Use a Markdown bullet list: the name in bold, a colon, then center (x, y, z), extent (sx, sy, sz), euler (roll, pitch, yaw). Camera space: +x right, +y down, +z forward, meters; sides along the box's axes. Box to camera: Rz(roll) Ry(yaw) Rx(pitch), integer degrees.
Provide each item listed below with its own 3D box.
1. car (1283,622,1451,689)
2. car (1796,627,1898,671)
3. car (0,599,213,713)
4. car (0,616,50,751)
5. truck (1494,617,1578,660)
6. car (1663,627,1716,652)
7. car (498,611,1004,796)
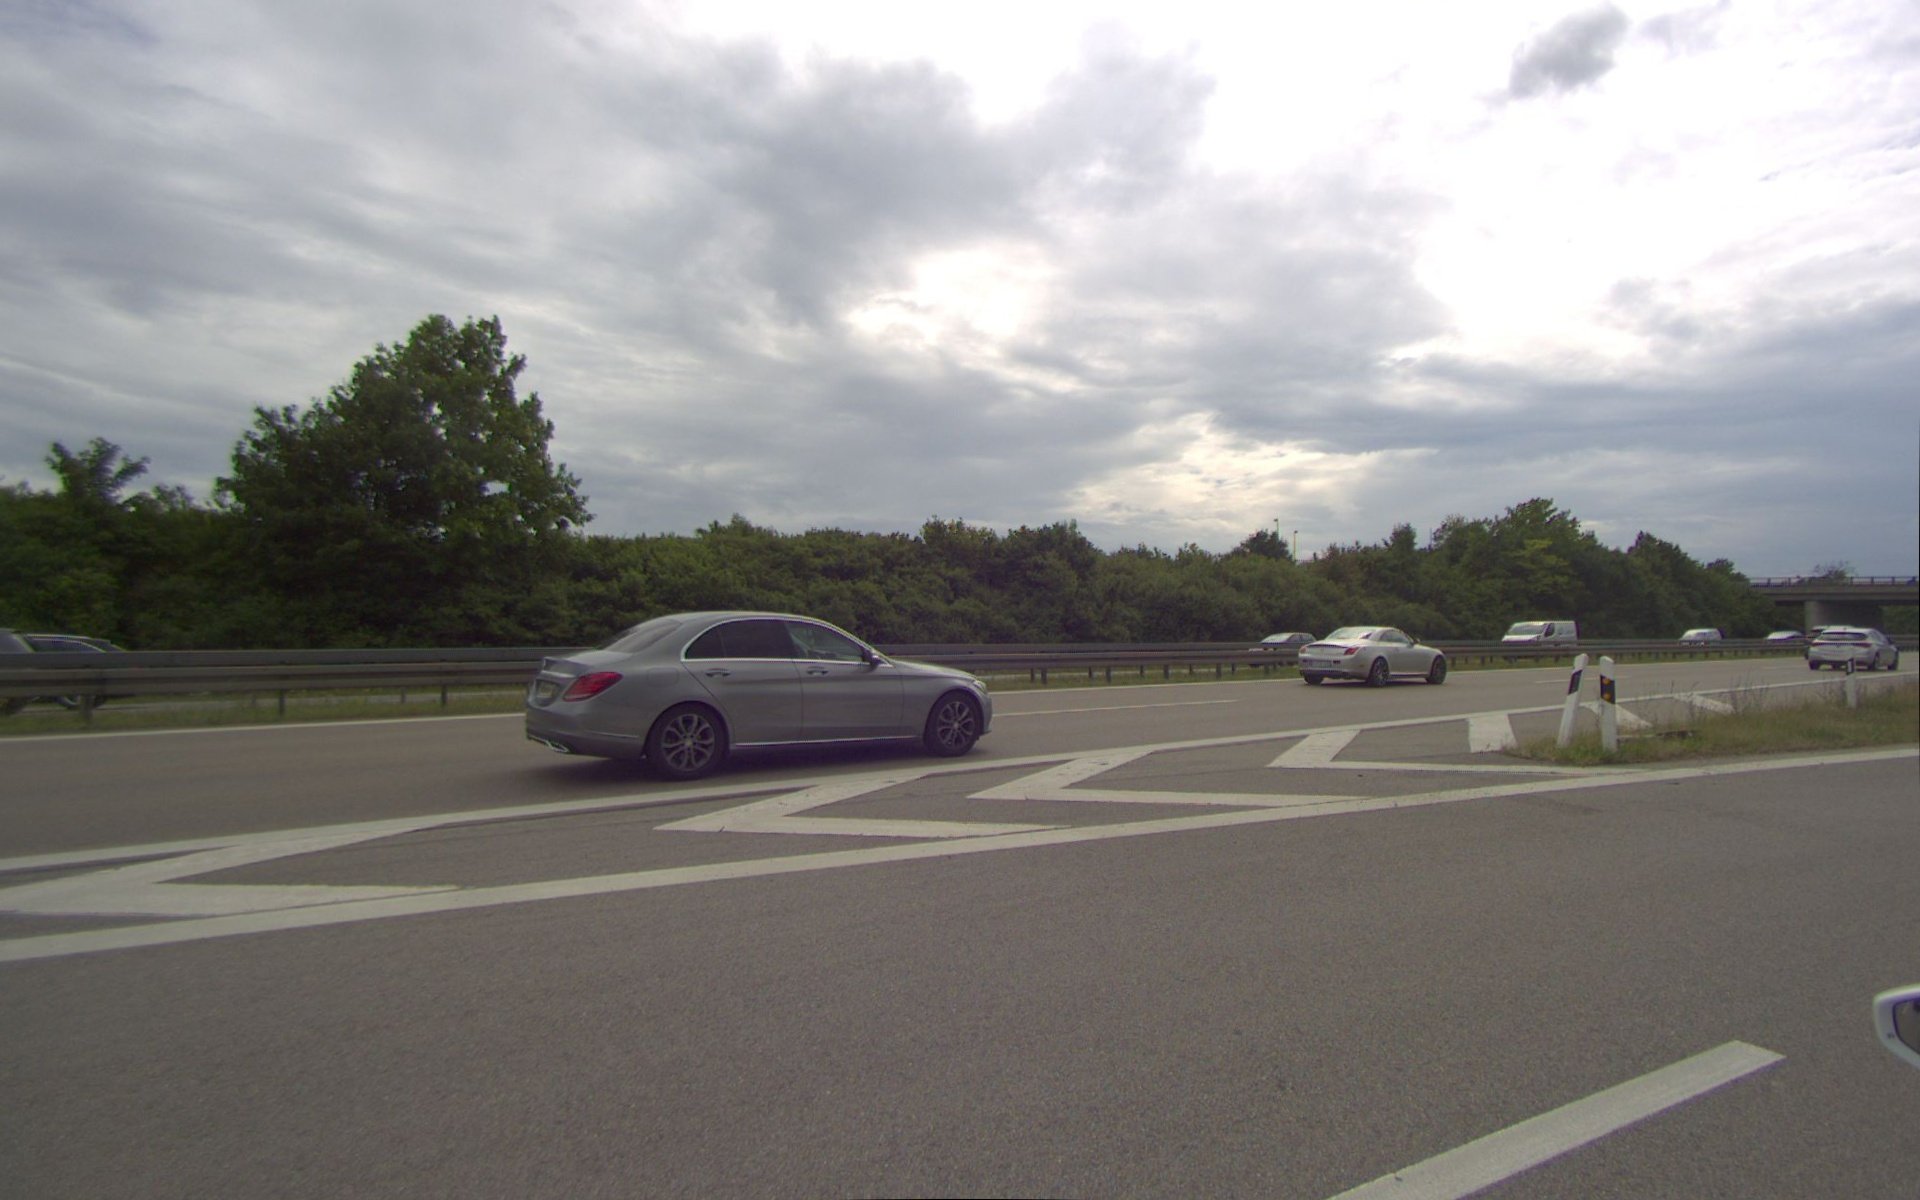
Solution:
- **car**: center (9.599, 1.247, 23.539), extent (4.267, 1.417, 1.767), euler (1, -1, -38)
- **car**: center (30.972, 1.677, 35.066), extent (3.988, 1.417, 1.769), euler (1, -1, -34)
- **car**: center (-17.160, 1.051, 19.700), extent (3.965, 2.040, 1.978), euler (2, 0, -39)
- **car**: center (-16.459, 1.250, 15.061), extent (3.964, 2.040, 1.979), euler (1, -1, -38)
- **truck**: center (28.654, 1.911, 49.933), extent (4.675, 2.040, 1.979), euler (1, -2, -37)
- **car**: center (50.825, 2.741, 69.973), extent (3.963, 1.673, 1.979), euler (1, -2, -37)
- **car**: center (-1.878, 0.853, 9.751), extent (4.506, 1.417, 1.768), euler (1, -1, -35)
